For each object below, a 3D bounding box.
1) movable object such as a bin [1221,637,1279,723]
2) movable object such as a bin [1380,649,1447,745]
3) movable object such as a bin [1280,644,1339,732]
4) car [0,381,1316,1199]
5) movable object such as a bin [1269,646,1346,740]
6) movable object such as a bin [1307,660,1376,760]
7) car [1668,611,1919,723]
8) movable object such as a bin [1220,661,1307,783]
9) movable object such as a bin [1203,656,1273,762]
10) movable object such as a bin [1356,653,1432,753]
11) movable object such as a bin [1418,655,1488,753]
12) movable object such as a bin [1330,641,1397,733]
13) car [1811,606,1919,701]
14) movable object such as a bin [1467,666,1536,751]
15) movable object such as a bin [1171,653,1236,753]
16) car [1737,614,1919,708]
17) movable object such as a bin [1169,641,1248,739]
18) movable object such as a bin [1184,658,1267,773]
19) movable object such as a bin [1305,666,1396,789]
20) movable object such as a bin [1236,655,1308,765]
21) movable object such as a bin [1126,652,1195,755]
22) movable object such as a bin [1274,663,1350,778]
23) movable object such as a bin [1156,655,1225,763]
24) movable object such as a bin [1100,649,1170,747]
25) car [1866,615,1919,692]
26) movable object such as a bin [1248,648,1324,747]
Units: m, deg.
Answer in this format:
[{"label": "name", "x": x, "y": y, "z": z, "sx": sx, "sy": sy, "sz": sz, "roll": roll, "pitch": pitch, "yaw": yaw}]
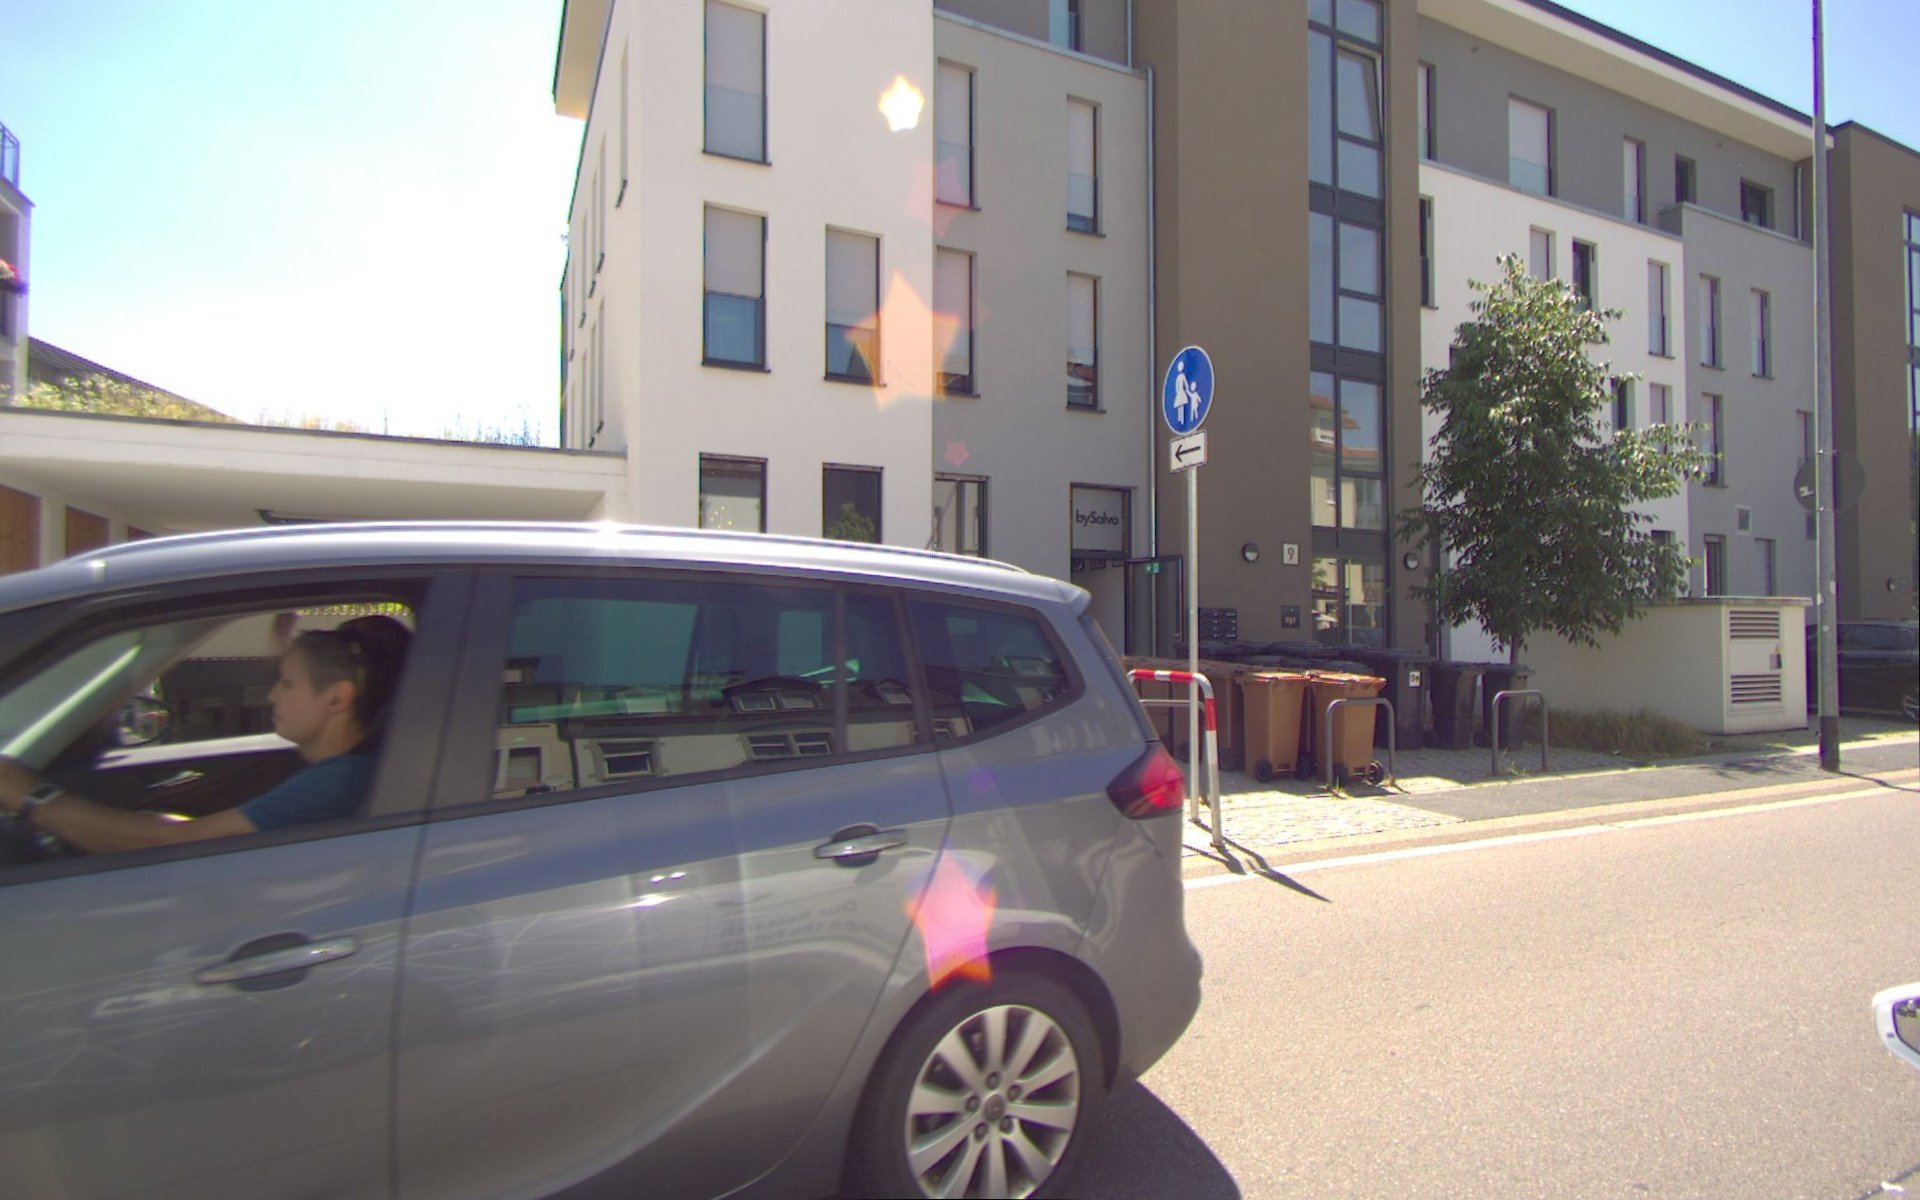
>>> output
[{"label": "movable object such as a bin", "x": 3.667, "y": 0.998, "z": 12.716, "sx": 0.478, "sy": 1.053, "sz": 0.549, "roll": 1, "pitch": -2, "yaw": -43}, {"label": "movable object such as a bin", "x": 5.250, "y": 1.100, "z": 11.626, "sx": 0.541, "sy": 1.053, "sz": 0.549, "roll": 1, "pitch": -2, "yaw": -43}, {"label": "movable object such as a bin", "x": 4.403, "y": 1.094, "z": 12.661, "sx": 0.478, "sy": 1.053, "sz": 0.549, "roll": 1, "pitch": -2, "yaw": -43}, {"label": "car", "x": -1.369, "y": 0.544, "z": 2.535, "sx": 4.181, "sy": 1.680, "sz": 1.935, "roll": 2, "pitch": -1, "yaw": -27}, {"label": "movable object such as a bin", "x": 4.121, "y": 1.087, "z": 11.920, "sx": 0.600, "sy": 1.053, "sz": 0.669, "roll": 1, "pitch": -2, "yaw": -43}, {"label": "movable object such as a bin", "x": 4.023, "y": 1.144, "z": 10.605, "sx": 0.401, "sy": 1.011, "sz": 0.549, "roll": 1, "pitch": -2, "yaw": -39}, {"label": "car", "x": 13.829, "y": 0.965, "z": 15.804, "sx": 1.973, "sy": 1.536, "sz": 3.975, "roll": 0, "pitch": 0, "yaw": -25}, {"label": "movable object such as a bin", "x": 2.682, "y": 1.055, "z": 8.883, "sx": 0.581, "sy": 1.011, "sz": 0.481, "roll": 1, "pitch": -1, "yaw": -29}, {"label": "movable object such as a bin", "x": 2.783, "y": 1.078, "z": 10.062, "sx": 0.549, "sy": 1.011, "sz": 0.401, "roll": 1, "pitch": -1, "yaw": -27}, {"label": "movable object such as a bin", "x": 4.727, "y": 1.101, "z": 10.954, "sx": 0.554, "sy": 1.033, "sz": 0.551, "roll": 1, "pitch": -1, "yaw": -30}, {"label": "movable object such as a bin", "x": 5.363, "y": 1.115, "z": 10.936, "sx": 0.421, "sy": 1.011, "sz": 0.552, "roll": 1, "pitch": -1, "yaw": -24}, {"label": "movable object such as a bin", "x": 4.833, "y": 1.029, "z": 12.038, "sx": 0.546, "sy": 1.053, "sz": 0.570, "roll": 1, "pitch": -2, "yaw": -43}, {"label": "car", "x": 18.056, "y": 0.971, "z": 17.859, "sx": 1.972, "sy": 1.673, "sz": 4.023, "roll": 1, "pitch": 0, "yaw": -23}, {"label": "movable object such as a bin", "x": 5.970, "y": 1.178, "z": 11.071, "sx": 0.478, "sy": 0.879, "sz": 0.549, "roll": 1, "pitch": -2, "yaw": -43}, {"label": "movable object such as a bin", "x": 2.573, "y": 1.070, "z": 10.610, "sx": 0.549, "sy": 1.011, "sz": 0.401, "roll": 1, "pitch": -1, "yaw": -27}, {"label": "car", "x": 15.789, "y": 1.001, "z": 16.835, "sx": 1.884, "sy": 1.440, "sz": 3.975, "roll": 1, "pitch": 0, "yaw": -25}, {"label": "movable object such as a bin", "x": 2.991, "y": 1.060, "z": 12.080, "sx": 0.643, "sy": 1.110, "sz": 0.685, "roll": 1, "pitch": -2, "yaw": -43}, {"label": "movable object such as a bin", "x": 2.471, "y": 1.052, "z": 9.348, "sx": 0.580, "sy": 1.011, "sz": 0.481, "roll": 1, "pitch": -1, "yaw": -27}, {"label": "movable object such as a bin", "x": 3.418, "y": 1.093, "z": 8.800, "sx": 0.580, "sy": 1.011, "sz": 0.481, "roll": 1, "pitch": -1, "yaw": -27}, {"label": "movable object such as a bin", "x": 3.004, "y": 1.044, "z": 9.675, "sx": 0.549, "sy": 1.011, "sz": 0.401, "roll": 1, "pitch": -1, "yaw": -27}, {"label": "movable object such as a bin", "x": 2.059, "y": 1.048, "z": 10.327, "sx": 0.520, "sy": 1.011, "sz": 0.481, "roll": 1, "pitch": -1, "yaw": -29}, {"label": "movable object such as a bin", "x": 3.247, "y": 1.093, "z": 9.262, "sx": 0.549, "sy": 1.011, "sz": 0.401, "roll": 1, "pitch": -1, "yaw": -27}, {"label": "movable object such as a bin", "x": 2.255, "y": 1.051, "z": 9.844, "sx": 0.517, "sy": 1.011, "sz": 0.423, "roll": 1, "pitch": -1, "yaw": -26}, {"label": "movable object such as a bin", "x": 1.898, "y": 1.050, "z": 10.921, "sx": 0.581, "sy": 1.011, "sz": 0.480, "roll": 1, "pitch": -1, "yaw": -33}, {"label": "car", "x": 20.430, "y": 1.079, "z": 19.331, "sx": 1.972, "sy": 1.516, "sz": 4.023, "roll": 1, "pitch": 0, "yaw": -23}, {"label": "movable object such as a bin", "x": 3.679, "y": 1.080, "z": 11.338, "sx": 0.578, "sy": 1.053, "sz": 0.614, "roll": 1, "pitch": -2, "yaw": -43}]
